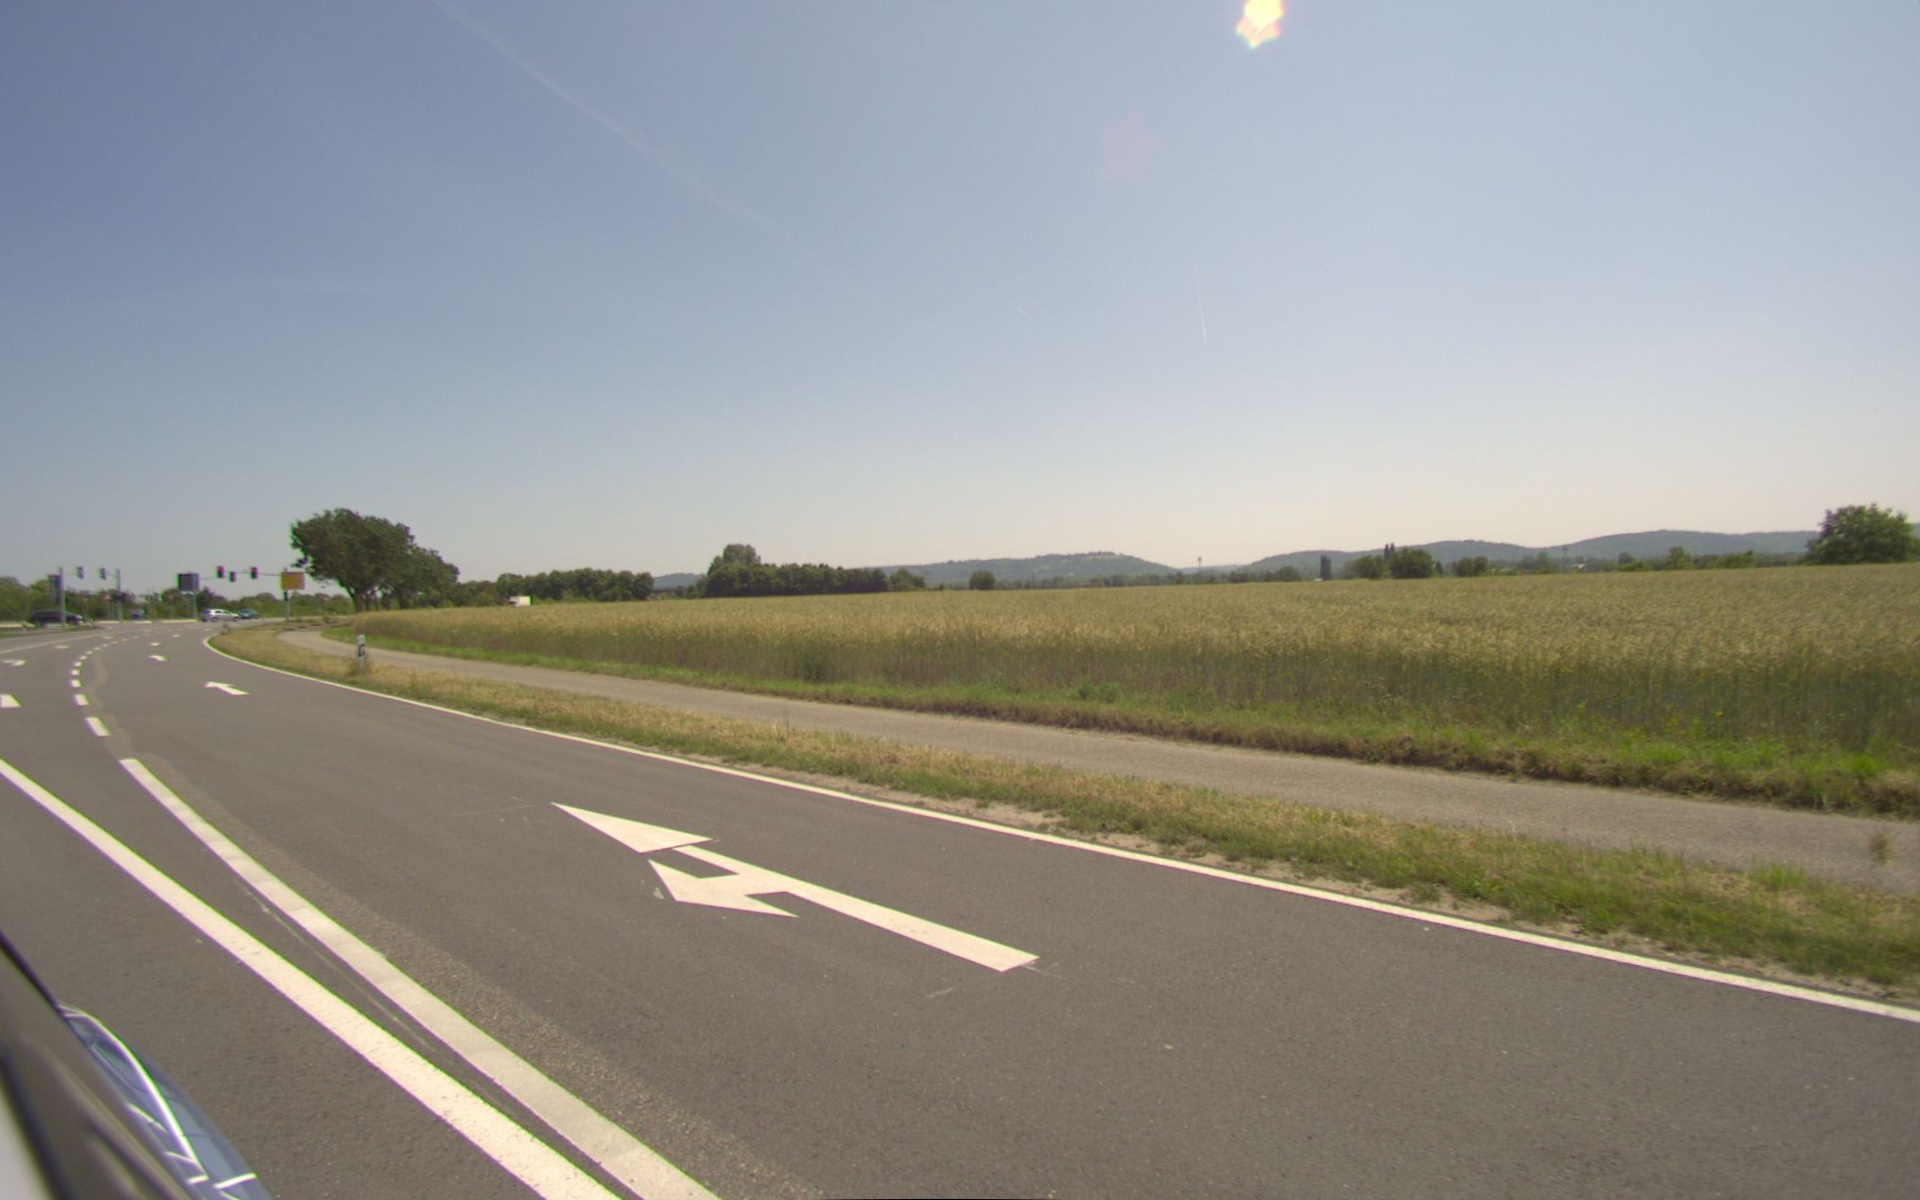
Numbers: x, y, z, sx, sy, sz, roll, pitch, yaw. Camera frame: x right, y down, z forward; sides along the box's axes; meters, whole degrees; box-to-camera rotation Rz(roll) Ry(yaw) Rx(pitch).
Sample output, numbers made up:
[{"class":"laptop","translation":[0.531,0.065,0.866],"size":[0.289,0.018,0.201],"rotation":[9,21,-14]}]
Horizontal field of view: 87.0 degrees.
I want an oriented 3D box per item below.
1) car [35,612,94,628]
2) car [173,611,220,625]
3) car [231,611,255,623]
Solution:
[{"class":"car","translation":[-96.490,2.143,109.092],"size":[4.448,1.653,1.820],"rotation":[-1,1,-26]},{"class":"car","translation":[-89.126,2.037,118.194],"size":[1.655,1.471,4.108],"rotation":[-1,1,31]},{"class":"car","translation":[-97.856,2.304,138.149],"size":[1.629,1.578,4.013],"rotation":[-1,0,-19]}]
